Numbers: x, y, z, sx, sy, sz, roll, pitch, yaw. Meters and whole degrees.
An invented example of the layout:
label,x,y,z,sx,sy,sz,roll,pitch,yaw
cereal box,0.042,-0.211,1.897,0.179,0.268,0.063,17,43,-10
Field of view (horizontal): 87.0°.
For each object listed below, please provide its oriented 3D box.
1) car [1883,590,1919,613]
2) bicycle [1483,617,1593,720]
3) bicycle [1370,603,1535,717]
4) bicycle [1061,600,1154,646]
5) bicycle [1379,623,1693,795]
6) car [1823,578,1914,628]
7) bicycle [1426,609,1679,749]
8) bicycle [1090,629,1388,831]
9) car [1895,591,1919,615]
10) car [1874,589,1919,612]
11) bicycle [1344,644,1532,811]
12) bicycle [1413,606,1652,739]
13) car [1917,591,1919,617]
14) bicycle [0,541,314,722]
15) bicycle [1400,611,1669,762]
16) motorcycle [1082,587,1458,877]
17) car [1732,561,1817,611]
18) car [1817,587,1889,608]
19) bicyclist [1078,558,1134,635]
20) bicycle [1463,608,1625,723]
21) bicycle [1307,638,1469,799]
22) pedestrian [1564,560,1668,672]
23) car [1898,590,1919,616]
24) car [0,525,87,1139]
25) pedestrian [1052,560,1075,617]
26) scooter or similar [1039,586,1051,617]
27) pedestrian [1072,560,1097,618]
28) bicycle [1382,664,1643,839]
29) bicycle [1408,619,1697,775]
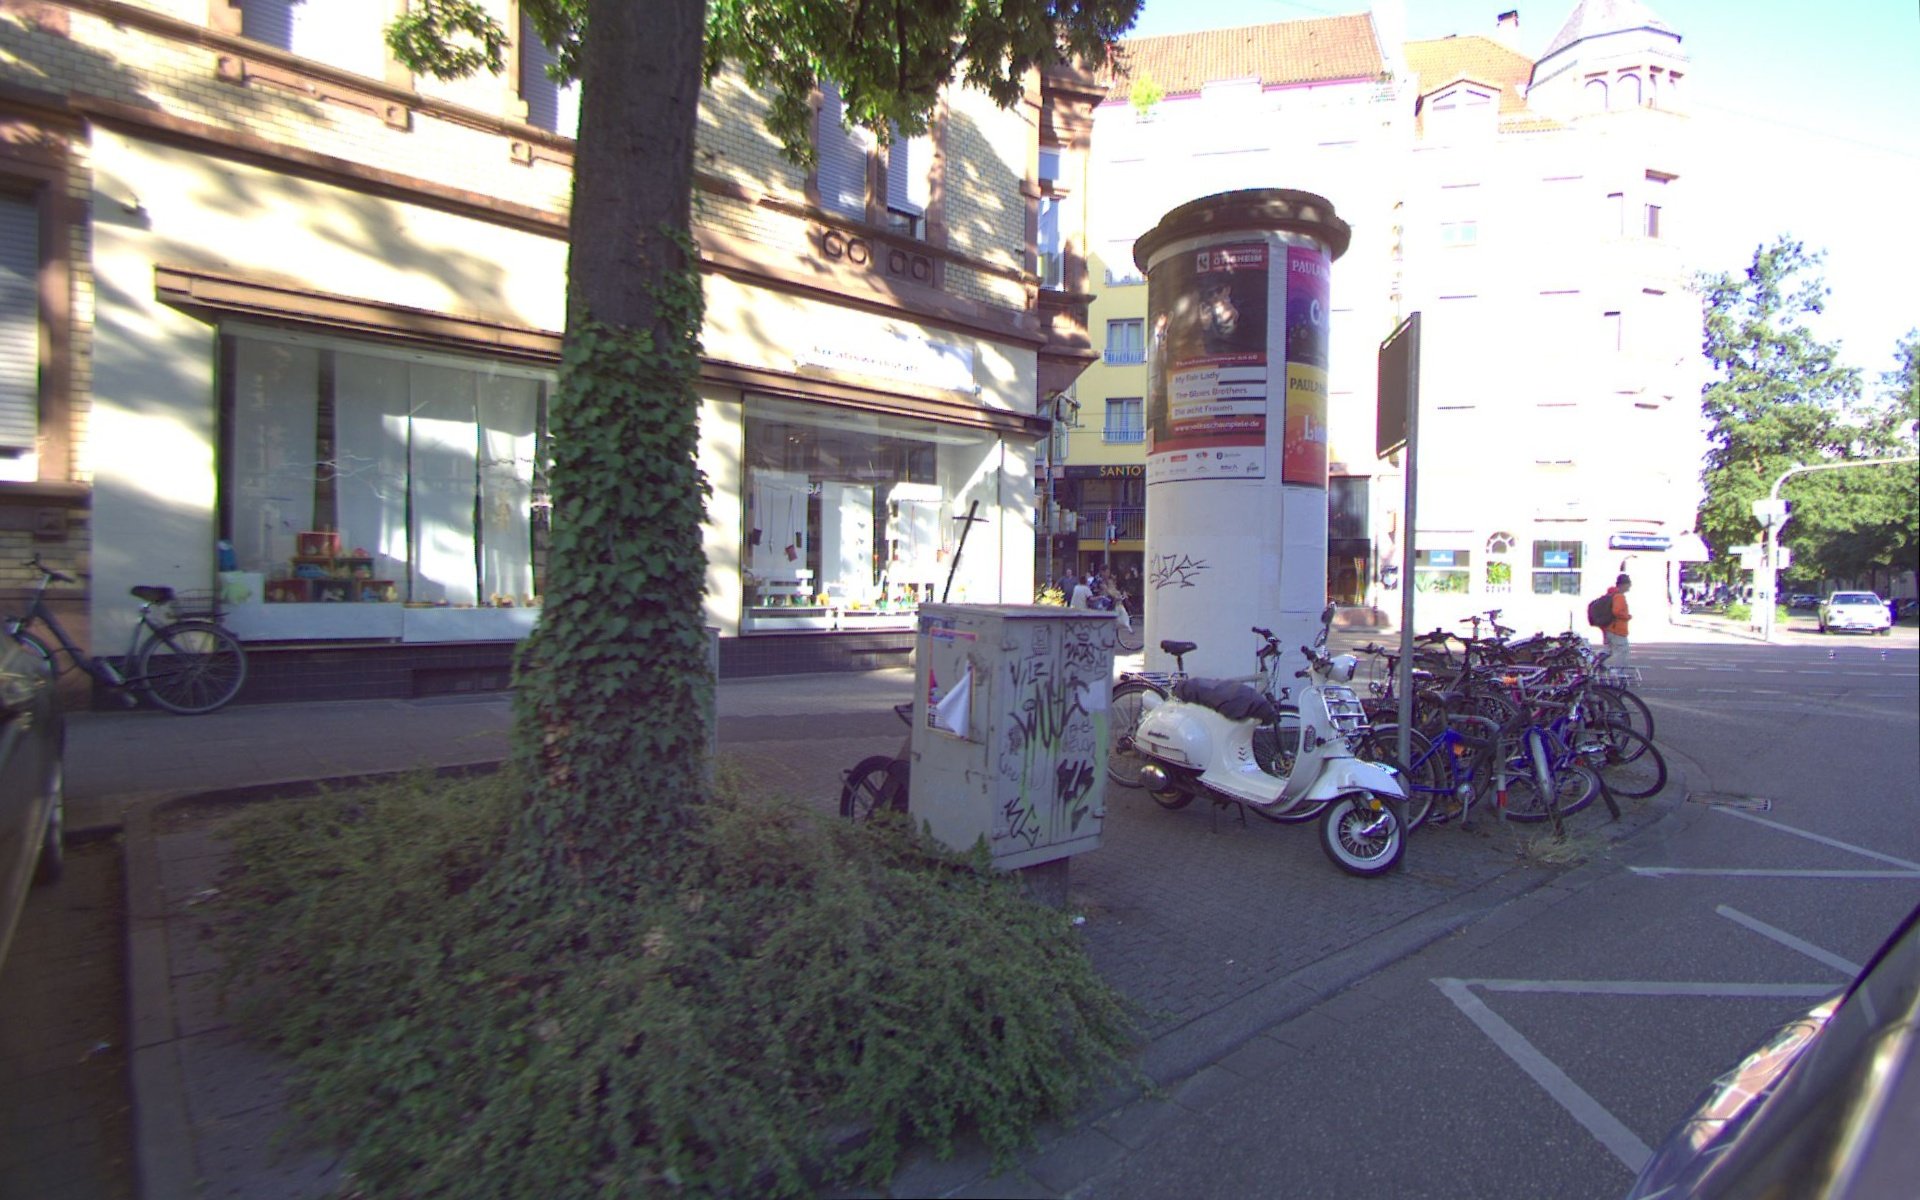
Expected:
label,x,y,z,sx,sy,sz,roll,pitch,yaw
car,67.989,0.139,71.054,4.269,1.604,1.979,2,1,31
bicycle,6.369,0.730,11.206,0.990,1.039,0.731,1,1,27
bicycle,5.216,0.628,10.754,1.447,1.106,0.575,2,3,-10
bicycle,3.082,0.471,21.190,1.855,0.924,0.630,0,-1,20
bicycle,4.211,0.762,7.556,1.918,0.999,0.492,4,4,27
car,34.781,0.081,38.855,1.986,1.771,3.952,2,2,34
bicycle,5.390,0.701,9.301,1.905,1.106,0.424,3,3,10
bicycle,1.703,0.758,6.518,0.348,0.938,1.934,0,5,-41
car,66.290,0.258,68.283,4.269,1.604,1.979,2,1,31
car,69.185,0.049,73.120,4.269,1.604,1.979,2,1,31
bicycle,3.167,0.793,6.657,1.496,0.938,0.355,0,4,-34
bicycle,5.479,0.679,9.771,1.905,1.106,0.424,3,3,10
car,61.351,0.314,61.481,4.266,1.604,1.980,2,1,29
bicycle,-6.202,0.194,7.292,2.546,1.185,0.672,0,4,-39
bicycle,4.898,0.715,8.737,1.907,1.106,0.424,3,3,12
motorcycle,1.643,0.612,5.678,0.674,1.249,1.902,0,4,-40
car,55.176,-0.979,68.773,3.299,3.218,7.995,2,1,31
car,76.191,-0.235,86.420,4.269,1.604,1.979,2,1,31
bicyclist,3.056,-0.065,21.209,1.067,1.573,0.630,0,-1,20
bicycle,5.984,0.670,10.376,1.446,1.106,0.426,2,3,-11
bicycle,3.003,0.777,7.040,1.498,0.938,0.354,-1,4,-40
pedestrian,10.454,0.231,16.182,1.159,1.701,1.001,1,1,20
car,62.266,0.215,63.727,4.266,1.604,1.980,2,1,29
car,-3.534,0.504,2.535,1.817,1.430,4.799,0,3,-38
pedestrian,3.509,-0.398,34.365,0.669,1.862,0.724,1,4,14
scooter or similar,2.891,0.043,34.235,0.351,0.989,0.422,1,4,12
pedestrian,4.173,-0.381,33.953,0.724,1.862,0.724,1,4,14
bicycle,3.245,0.882,5.962,1.383,0.938,0.355,2,3,-11
bicycle,4.773,0.760,8.268,1.907,1.064,0.501,3,3,12
